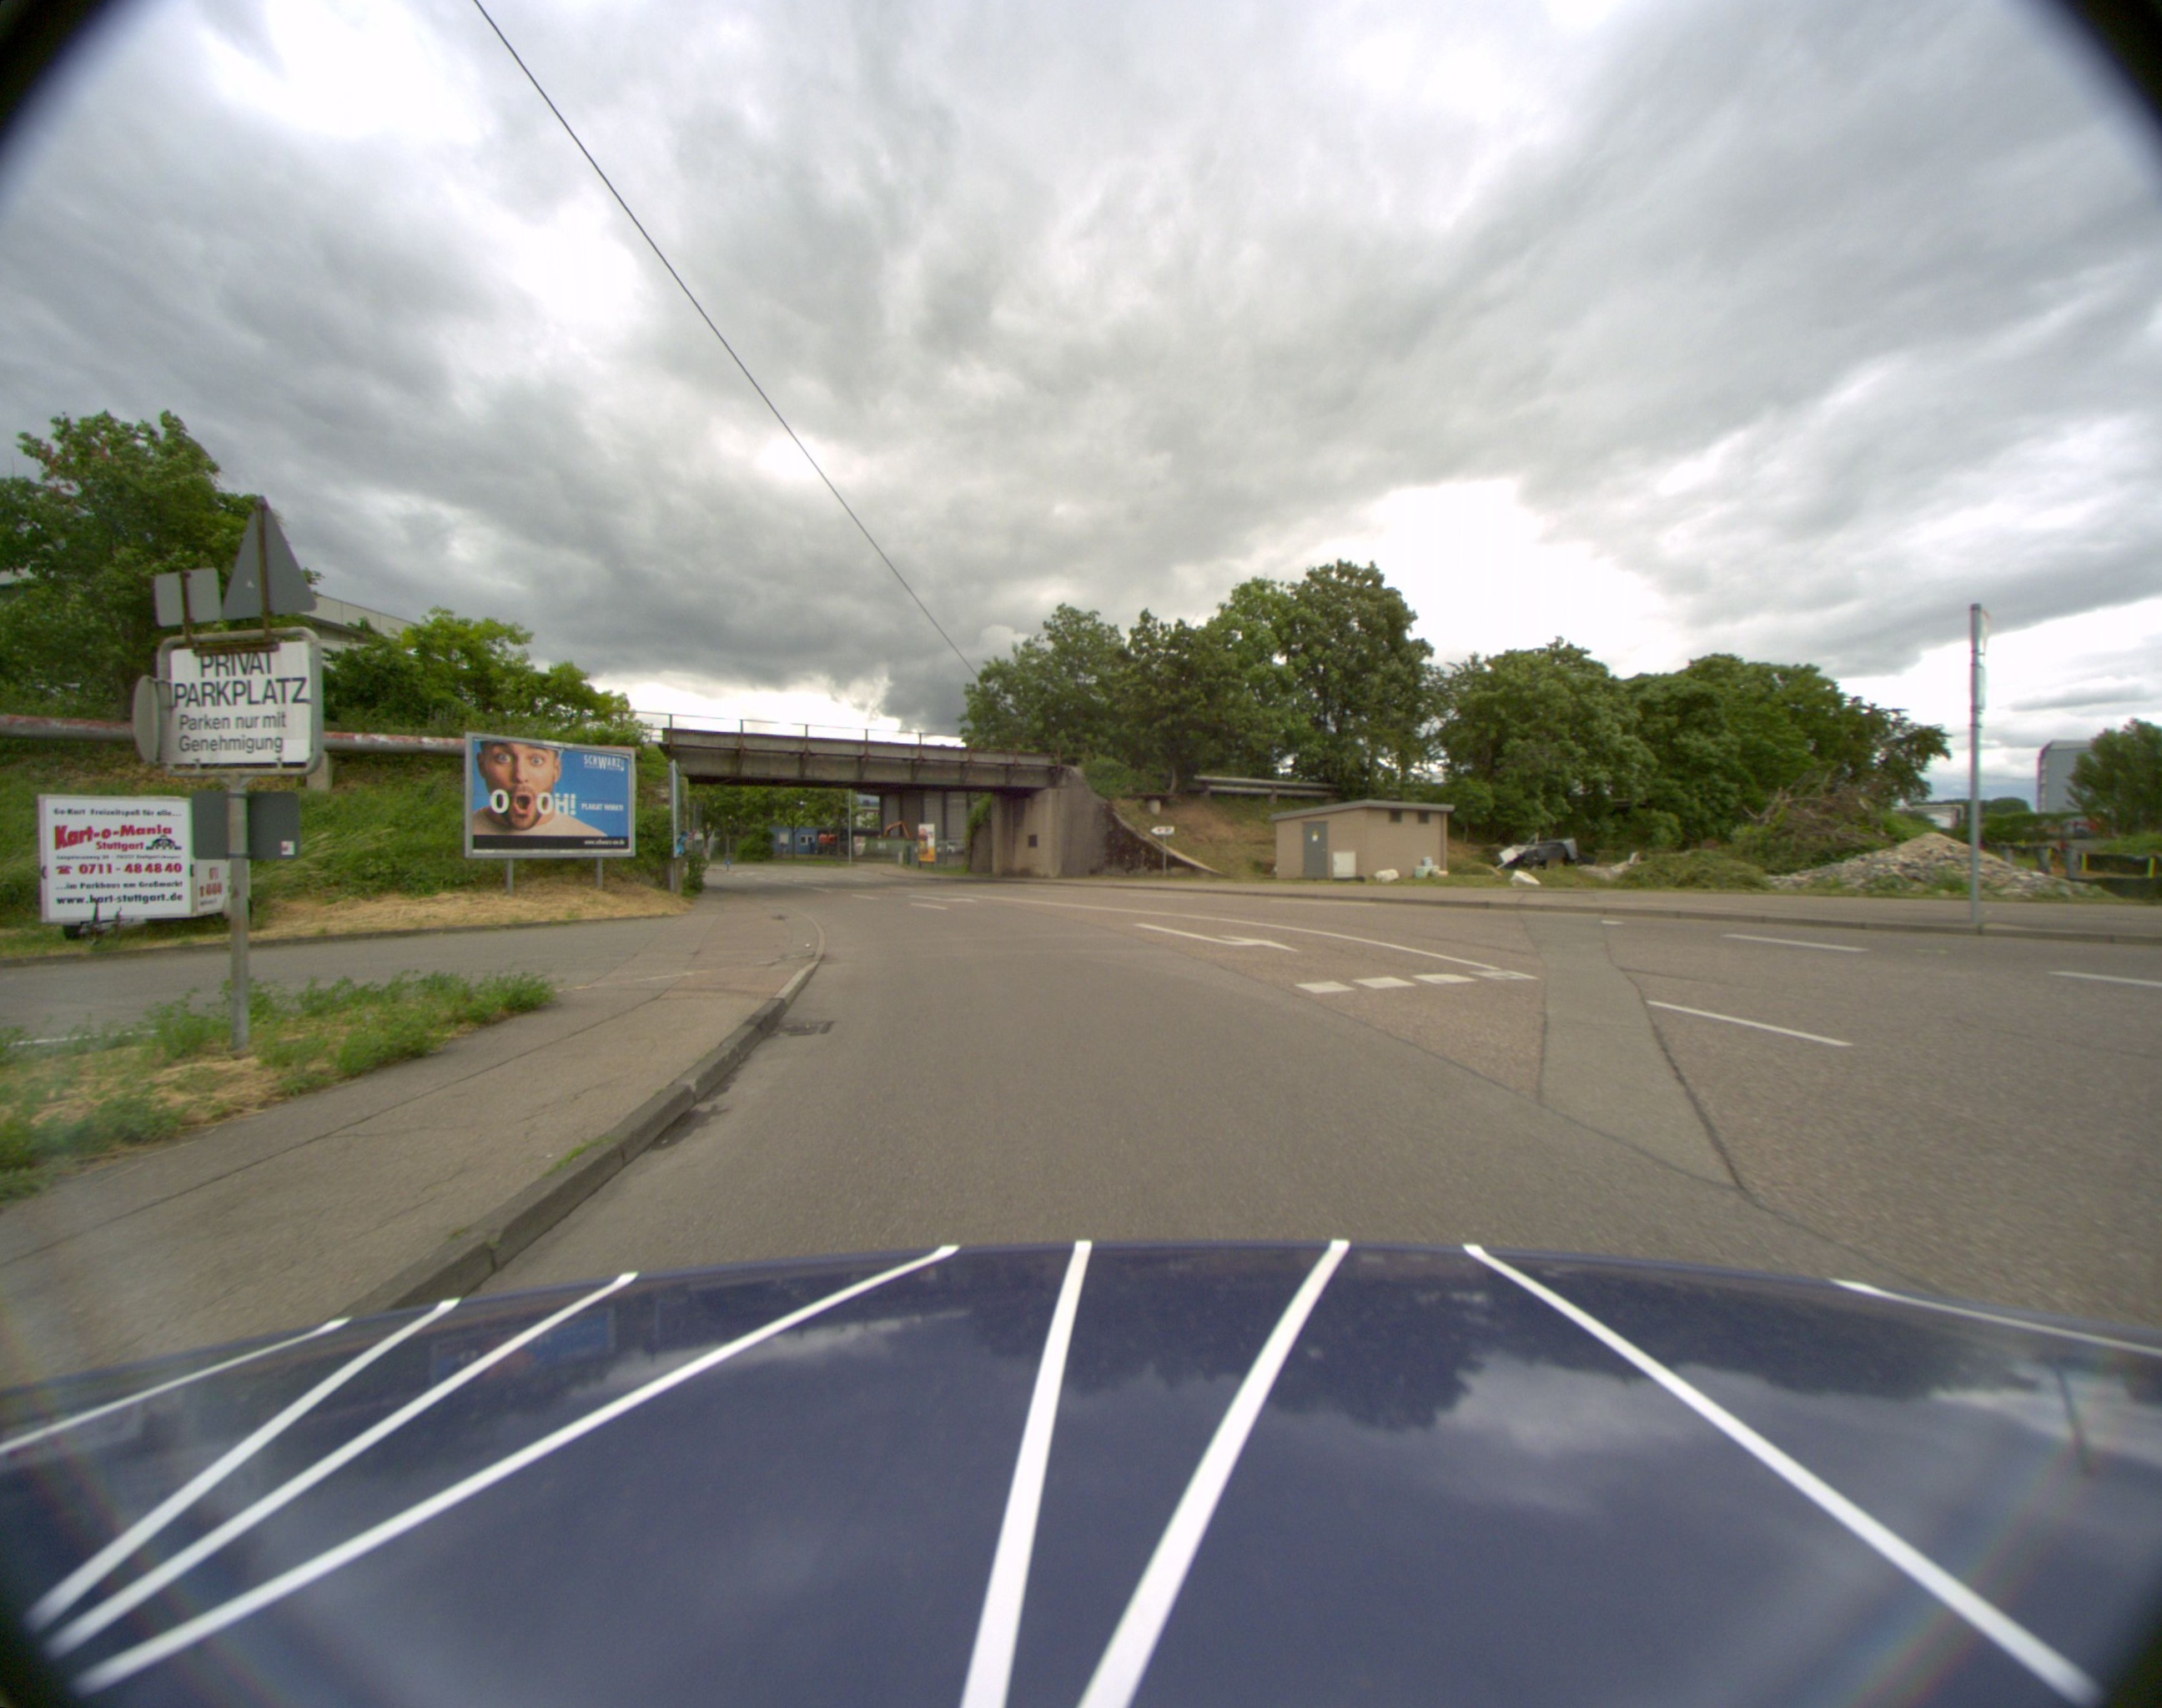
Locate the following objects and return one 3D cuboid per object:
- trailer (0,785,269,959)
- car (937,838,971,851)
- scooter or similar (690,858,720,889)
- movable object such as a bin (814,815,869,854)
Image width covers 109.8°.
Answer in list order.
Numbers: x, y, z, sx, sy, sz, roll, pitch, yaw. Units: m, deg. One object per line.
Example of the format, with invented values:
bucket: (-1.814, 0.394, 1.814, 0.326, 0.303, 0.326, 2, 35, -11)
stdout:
trailer: (-15.492, 0.228, 12.637, 1.813, 2.384, 4.403, -2, 1, -35)
car: (-13.610, -1.018, 81.543, 1.741, 1.366, 3.988, -1, 1, -42)
scooter or similar: (-15.583, 0.812, 31.474, 1.665, 1.228, 0.507, 1, -2, 42)
movable object such as a bin: (-26.186, -2.096, 83.016, 6.533, 4.067, 2.740, 0, 0, 41)
